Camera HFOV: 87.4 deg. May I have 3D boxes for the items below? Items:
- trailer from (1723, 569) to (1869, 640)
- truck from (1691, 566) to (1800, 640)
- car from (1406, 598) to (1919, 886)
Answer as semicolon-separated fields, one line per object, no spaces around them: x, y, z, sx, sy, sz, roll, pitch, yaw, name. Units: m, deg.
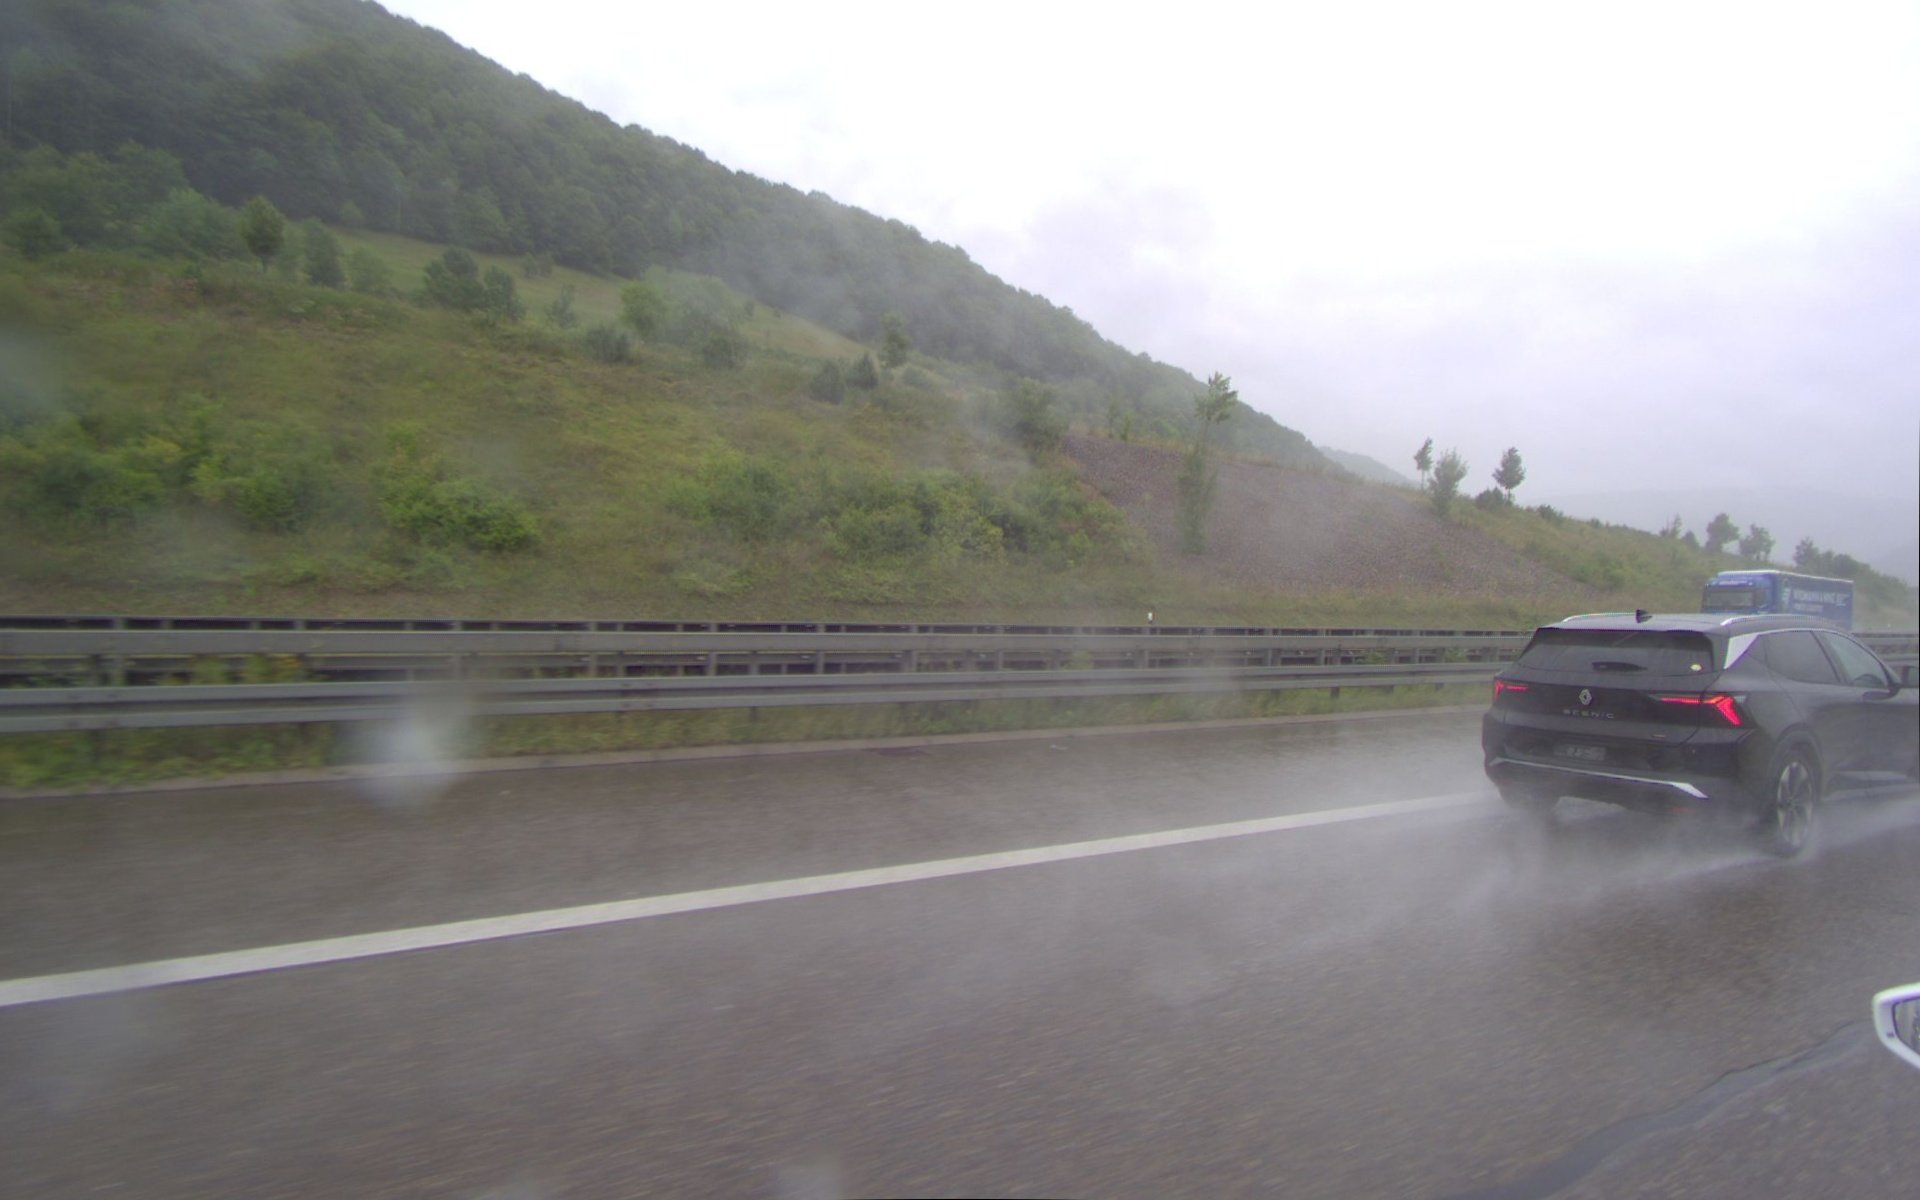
48.111;0.379;57.615;13.107;3.730;2.796;1;0;-34;trailer
41.741;0.198;53.352;6.142;3.732;2.763;1;0;-34;truck
6.019;0.836;7.774;4.728;1.536;2.394;2;1;-31;car
